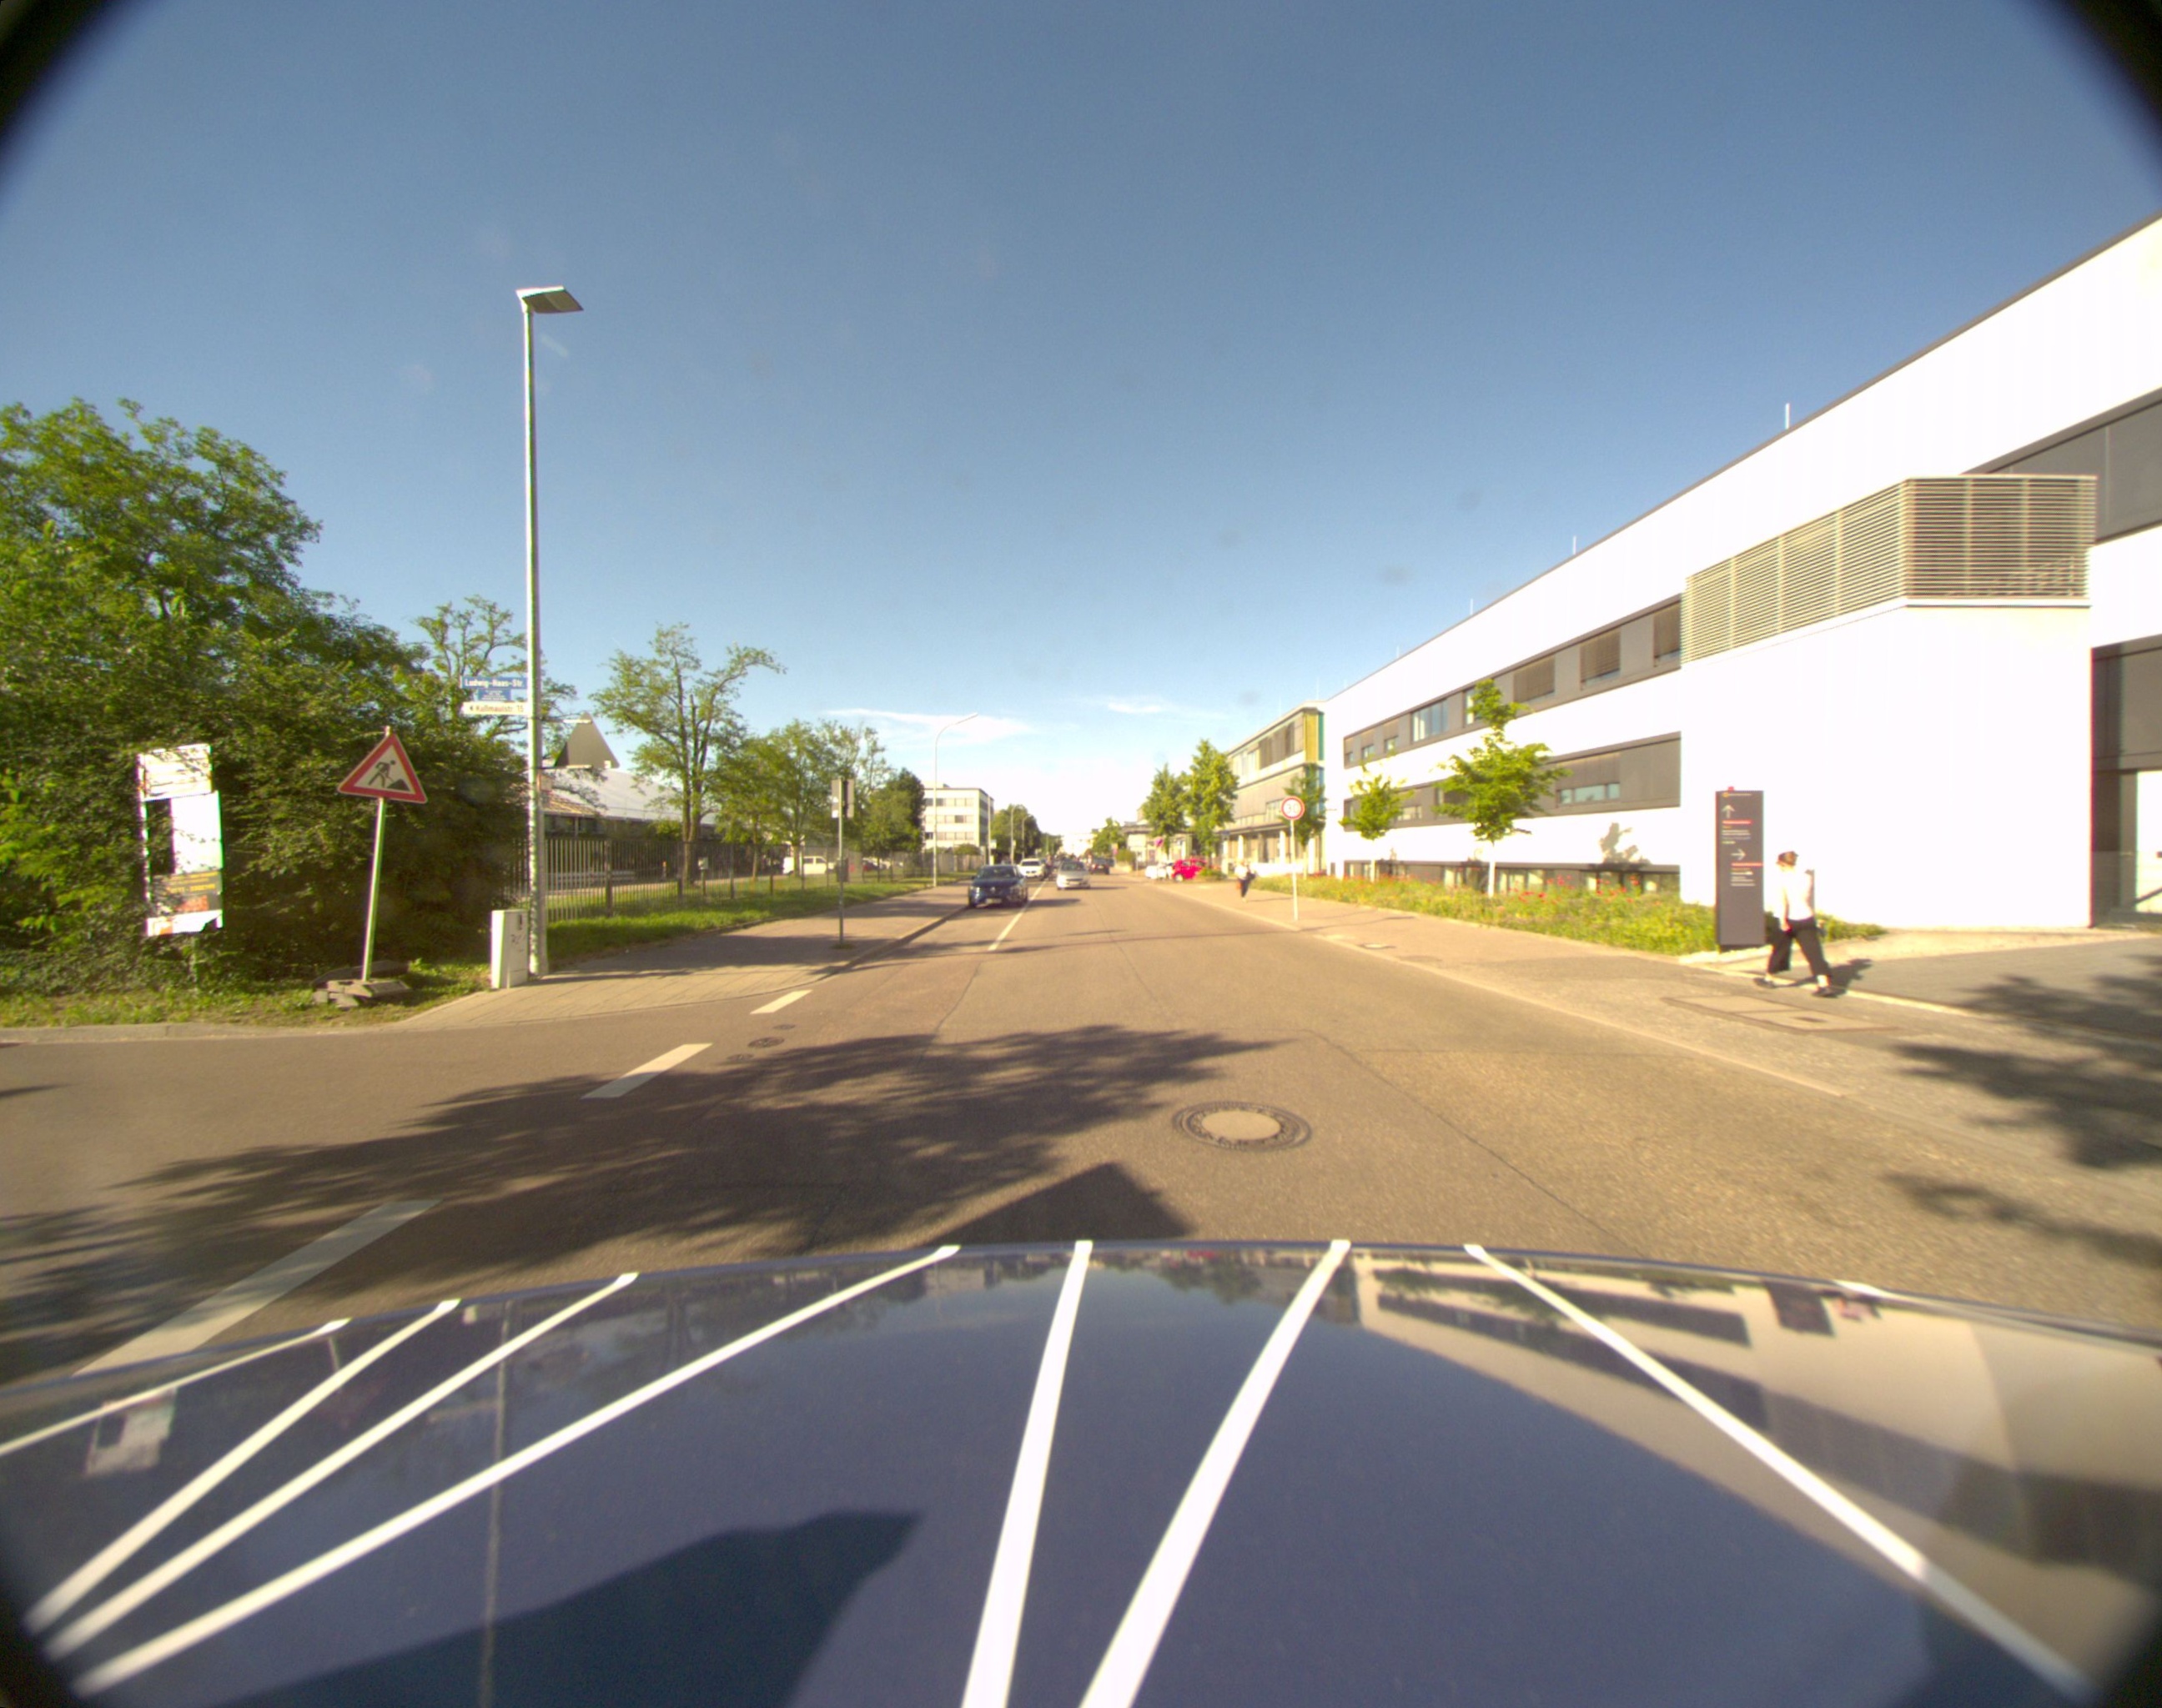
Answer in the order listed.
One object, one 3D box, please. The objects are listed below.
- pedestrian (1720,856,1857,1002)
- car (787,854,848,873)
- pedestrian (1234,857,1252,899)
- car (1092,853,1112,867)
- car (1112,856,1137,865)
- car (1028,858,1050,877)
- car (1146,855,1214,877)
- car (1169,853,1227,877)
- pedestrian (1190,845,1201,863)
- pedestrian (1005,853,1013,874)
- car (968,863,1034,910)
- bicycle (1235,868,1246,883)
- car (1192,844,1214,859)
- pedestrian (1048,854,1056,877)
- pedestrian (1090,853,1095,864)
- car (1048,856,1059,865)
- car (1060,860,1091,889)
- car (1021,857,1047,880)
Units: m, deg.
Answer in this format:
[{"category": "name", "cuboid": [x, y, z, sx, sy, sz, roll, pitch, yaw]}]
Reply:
[{"category": "pedestrian", "cuboid": [8.021, 0.803, 8.668, 0.522, 1.553, 1.096, -1, 0, -2]}, {"category": "car", "cuboid": [-24.687, 0.870, 71.290, 4.980, 1.635, 2.095, -2, 0, -4]}, {"category": "pedestrian", "cuboid": [5.910, 0.869, 27.709, 0.539, 1.515, 0.607, -1, 1, 0]}, {"category": "car", "cuboid": [2.034, 0.575, 75.458, 1.766, 1.433, 4.536, 0, 0, -2]}, {"category": "car", "cuboid": [7.447, 1.125, 131.202, 4.142, 1.458, 1.753, -1, 0, -2]}, {"category": "car", "cuboid": [-3.442, 1.064, 62.633, 1.705, 1.479, 3.979, -2, 0, -4]}, {"category": "car", "cuboid": [6.778, 0.838, 52.435, 4.522, 1.359, 1.700, -1, 0, 2]}, {"category": "car", "cuboid": [7.677, 0.713, 50.108, 3.642, 1.460, 1.615, -2, 0, 6]}, {"category": "pedestrian", "cuboid": [9.936, 0.004, 66.086, 0.775, 1.540, 0.780, -2, 1, -1]}, {"category": "pedestrian", "cuboid": [-5.718, 0.755, 60.275, 0.540, 1.602, 0.683, -2, 1, 0]}, {"category": "car", "cuboid": [-2.724, 1.070, 26.716, 1.822, 1.444, 4.214, -2, 0, 0]}, {"category": "bicycle", "cuboid": [12.446, 1.656, 59.386, 0.536, 1.105, 1.861, 0, 0, 1]}, {"category": "car", "cuboid": [15.386, -0.299, 96.282, 1.924, 1.880, 4.710, 0, 0, -1]}, {"category": "pedestrian", "cuboid": [-2.162, 0.863, 56.494, 0.522, 1.699, 0.522, -2, 1, -2]}, {"category": "pedestrian", "cuboid": [1.796, 0.682, 119.129, 0.693, 1.718, 0.775, 1, 0, -2]}, {"category": "car", "cuboid": [-4.548, 1.105, 127.334, 1.669, 1.505, 4.113, -2, 0, 0]}, {"category": "car", "cuboid": [-0.273, 1.006, 39.322, 1.551, 1.389, 3.454, 0, 0, 0]}, {"category": "car", "cuboid": [-3.361, 1.012, 54.898, 1.818, 1.579, 4.261, -2, 0, -3]}]
